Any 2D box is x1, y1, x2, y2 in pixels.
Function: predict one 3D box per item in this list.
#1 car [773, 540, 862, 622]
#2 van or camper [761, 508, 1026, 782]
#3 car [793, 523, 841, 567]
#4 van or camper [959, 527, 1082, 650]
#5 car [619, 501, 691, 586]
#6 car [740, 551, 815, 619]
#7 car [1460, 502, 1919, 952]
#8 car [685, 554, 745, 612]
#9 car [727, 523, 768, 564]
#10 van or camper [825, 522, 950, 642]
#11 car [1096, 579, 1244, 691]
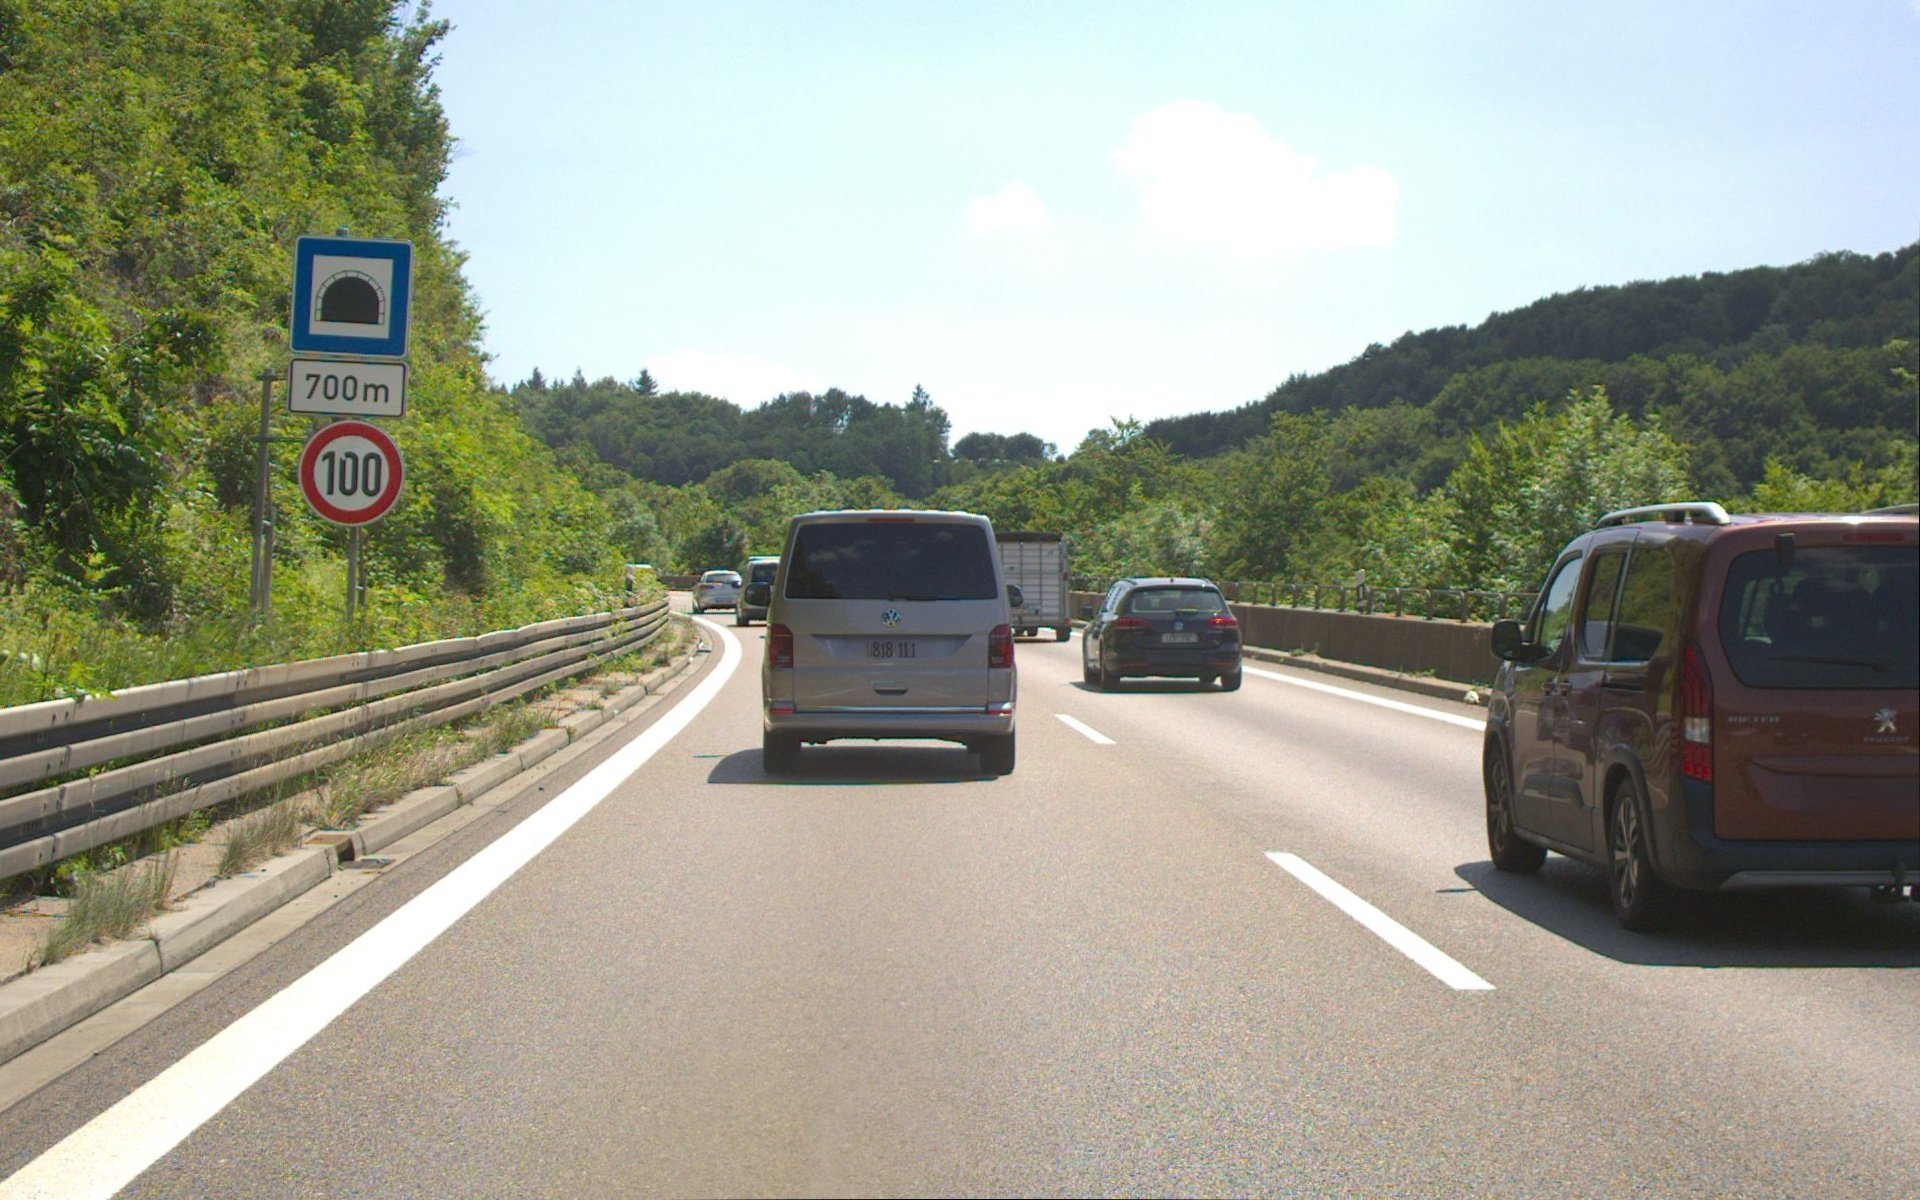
[{"bbox_3d":[-3.266,-0.449,78.832,1.993,1.811,4.000,0,1,-2],"label":"car"},{"bbox_3d":[-0.577,0.304,26.740,1.875,1.943,4.294,-1,0,-3],"label":"van or camper"},{"bbox_3d":[-6.655,-2.528,159.334,1.993,2.007,4.001,0,1,-6],"label":"car"},{"bbox_3d":[1.282,-0.259,74.860,2.263,2.542,4.737,-1,0,-4],"label":"van or camper"},{"bbox_3d":[-18.072,-3.308,203.095,4.042,4.855,10.111,1,1,-6],"label":"car"},{"bbox_3d":[-4.999,-0.421,94.467,1.993,1.811,4.000,0,1,-2],"label":"car"},{"bbox_3d":[3.635,0.499,15.974,1.833,1.778,4.676,0,0,-1],"label":"car"},{"bbox_3d":[-8.273,-0.580,115.914,1.993,1.908,4.001,0,1,-4],"label":"car"},{"bbox_3d":[-10.799,-2.851,174.347,1.993,2.007,4.001,0,1,-5],"label":"car"},{"bbox_3d":[-2.465,-0.617,113.439,3.275,3.776,8.113,1,1,-7],"label":"van or camper"},{"bbox_3d":[2.720,0.432,45.212,1.768,1.371,3.592,0,1,1],"label":"car"}]
